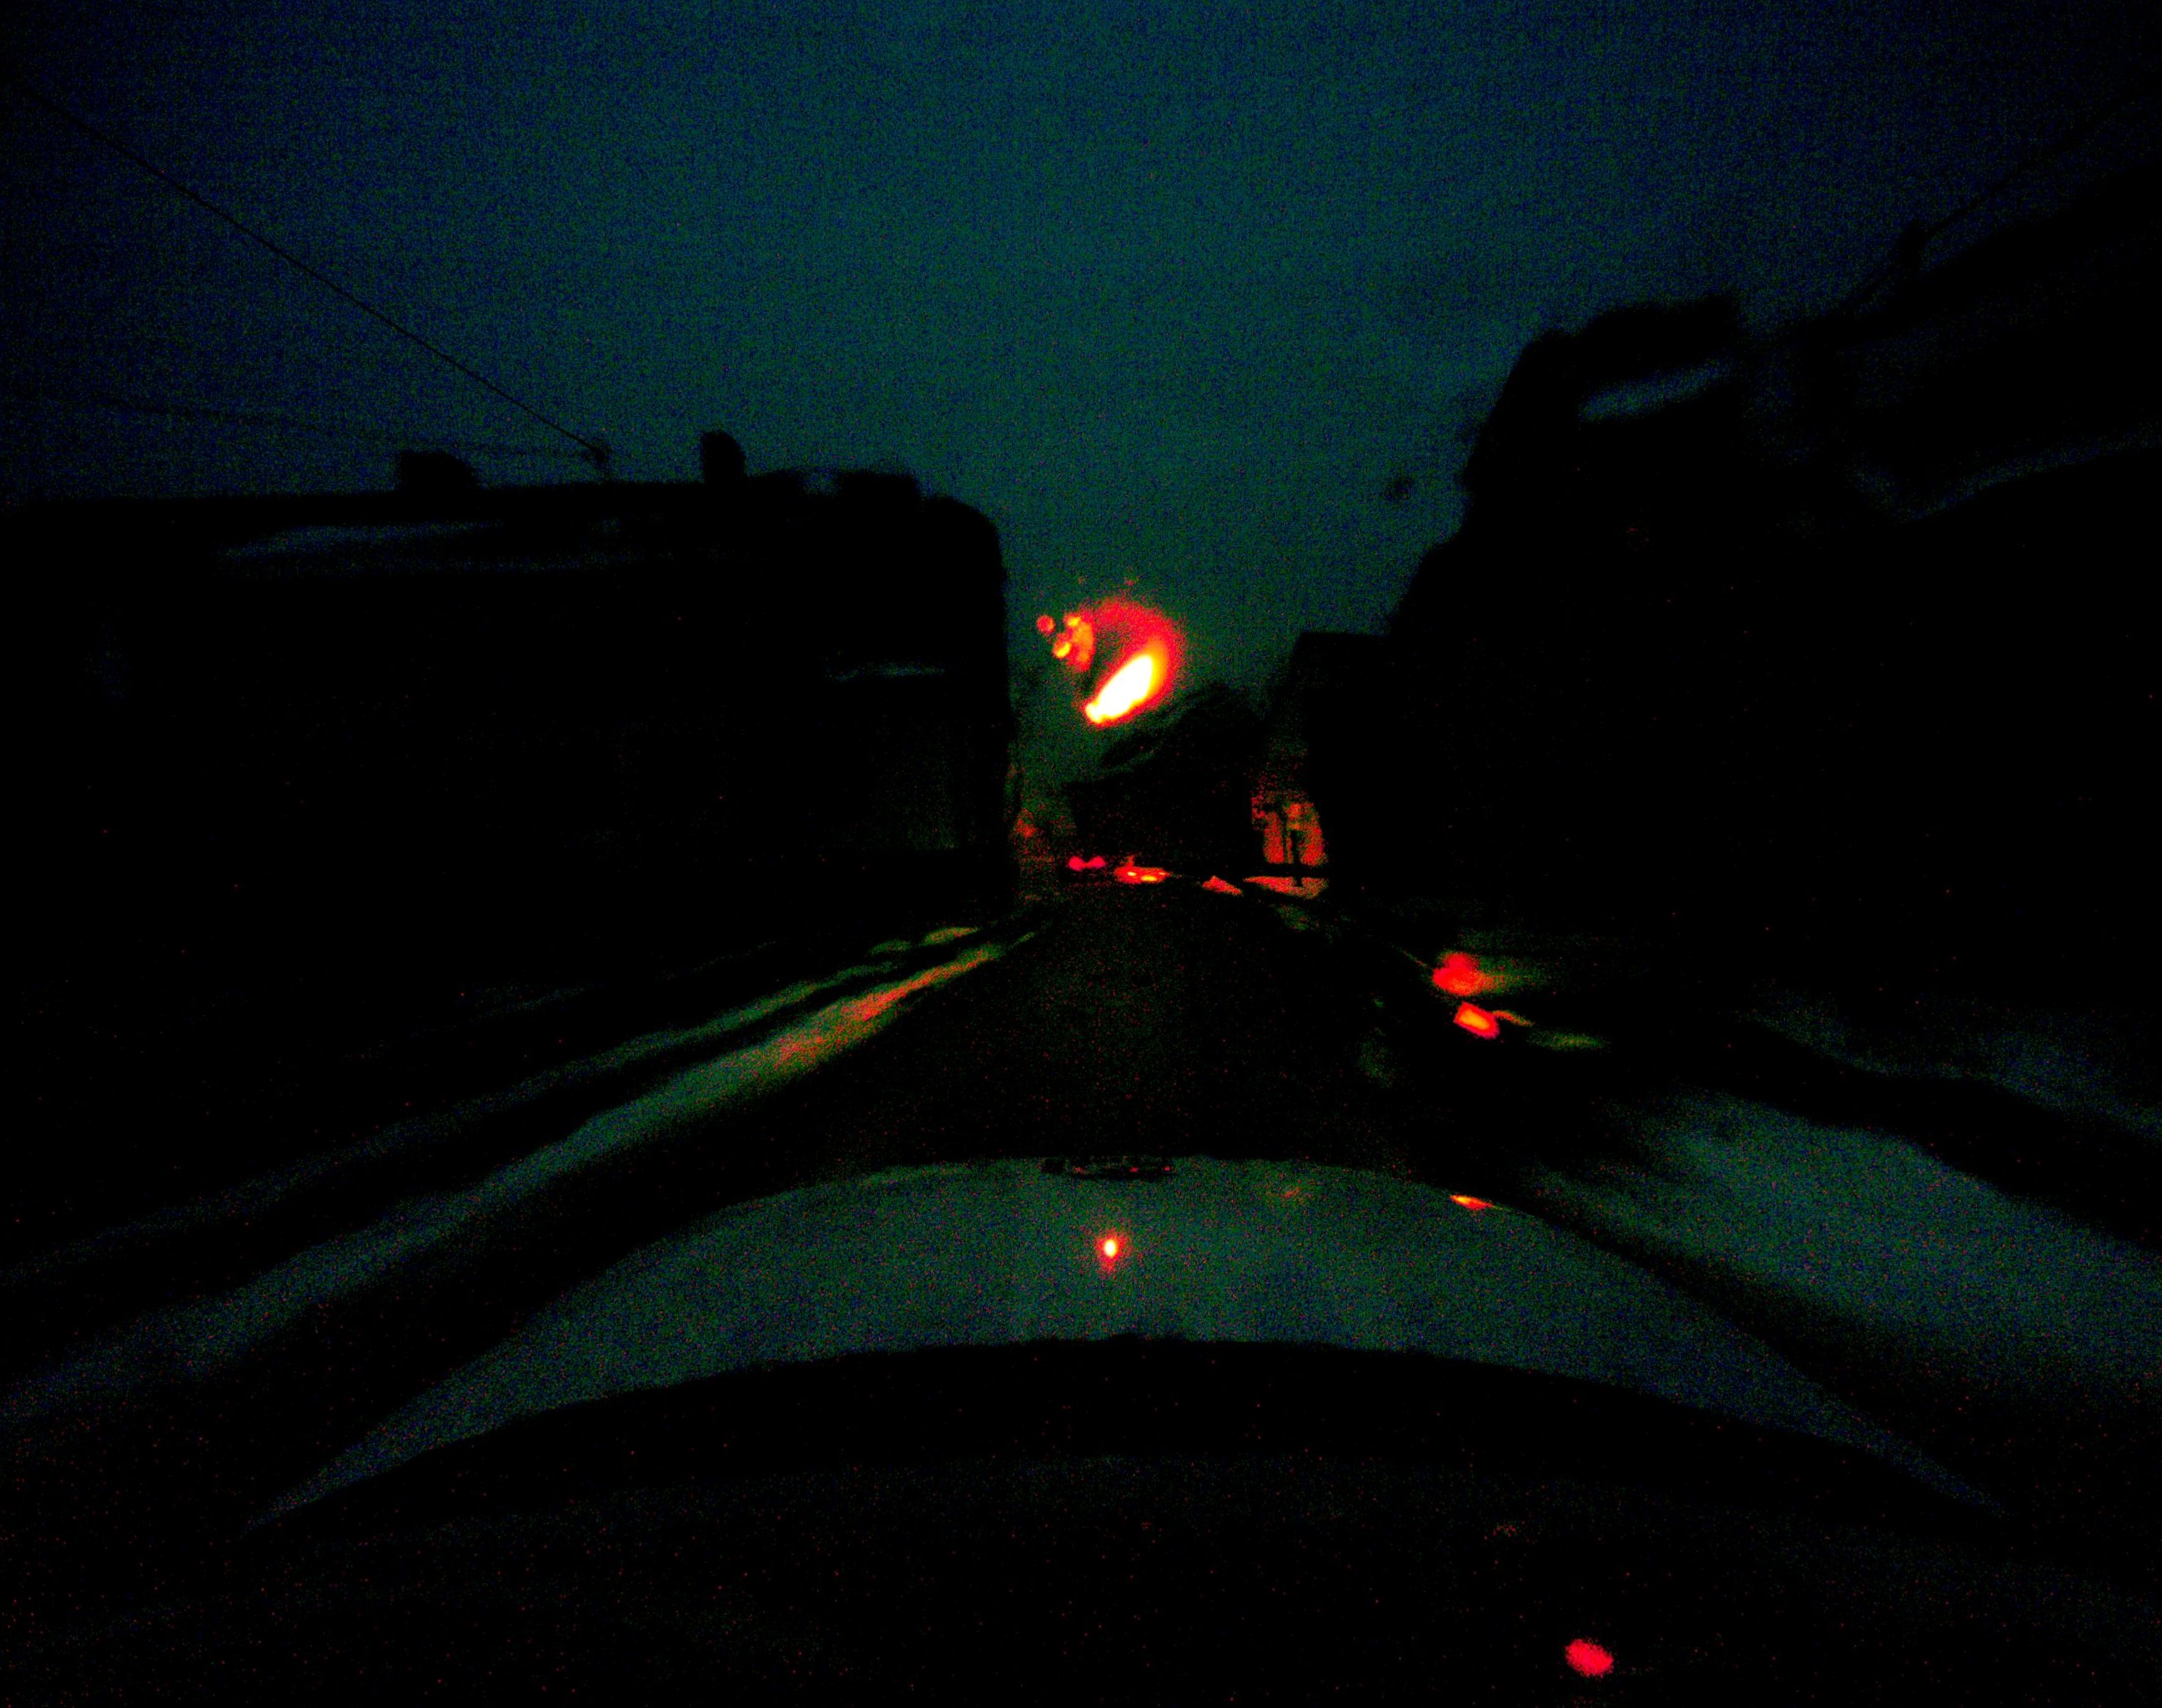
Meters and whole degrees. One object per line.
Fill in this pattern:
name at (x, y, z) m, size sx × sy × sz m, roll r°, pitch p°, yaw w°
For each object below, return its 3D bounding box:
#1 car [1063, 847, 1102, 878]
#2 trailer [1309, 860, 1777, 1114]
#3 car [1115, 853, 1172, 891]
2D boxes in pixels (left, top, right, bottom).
car at (0.016, 0.513, 47.401) m, size 1.990 × 1.728 × 3.994 m, roll 0°, pitch -1°, yaw -4°
trailer at (3.334, 0.785, 7.132) m, size 1.982 × 1.388 × 4.742 m, roll 0°, pitch 0°, yaw 8°
car at (2.599, 0.742, 34.647) m, size 1.988 × 1.508 × 3.996 m, roll 0°, pitch -1°, yaw -2°
